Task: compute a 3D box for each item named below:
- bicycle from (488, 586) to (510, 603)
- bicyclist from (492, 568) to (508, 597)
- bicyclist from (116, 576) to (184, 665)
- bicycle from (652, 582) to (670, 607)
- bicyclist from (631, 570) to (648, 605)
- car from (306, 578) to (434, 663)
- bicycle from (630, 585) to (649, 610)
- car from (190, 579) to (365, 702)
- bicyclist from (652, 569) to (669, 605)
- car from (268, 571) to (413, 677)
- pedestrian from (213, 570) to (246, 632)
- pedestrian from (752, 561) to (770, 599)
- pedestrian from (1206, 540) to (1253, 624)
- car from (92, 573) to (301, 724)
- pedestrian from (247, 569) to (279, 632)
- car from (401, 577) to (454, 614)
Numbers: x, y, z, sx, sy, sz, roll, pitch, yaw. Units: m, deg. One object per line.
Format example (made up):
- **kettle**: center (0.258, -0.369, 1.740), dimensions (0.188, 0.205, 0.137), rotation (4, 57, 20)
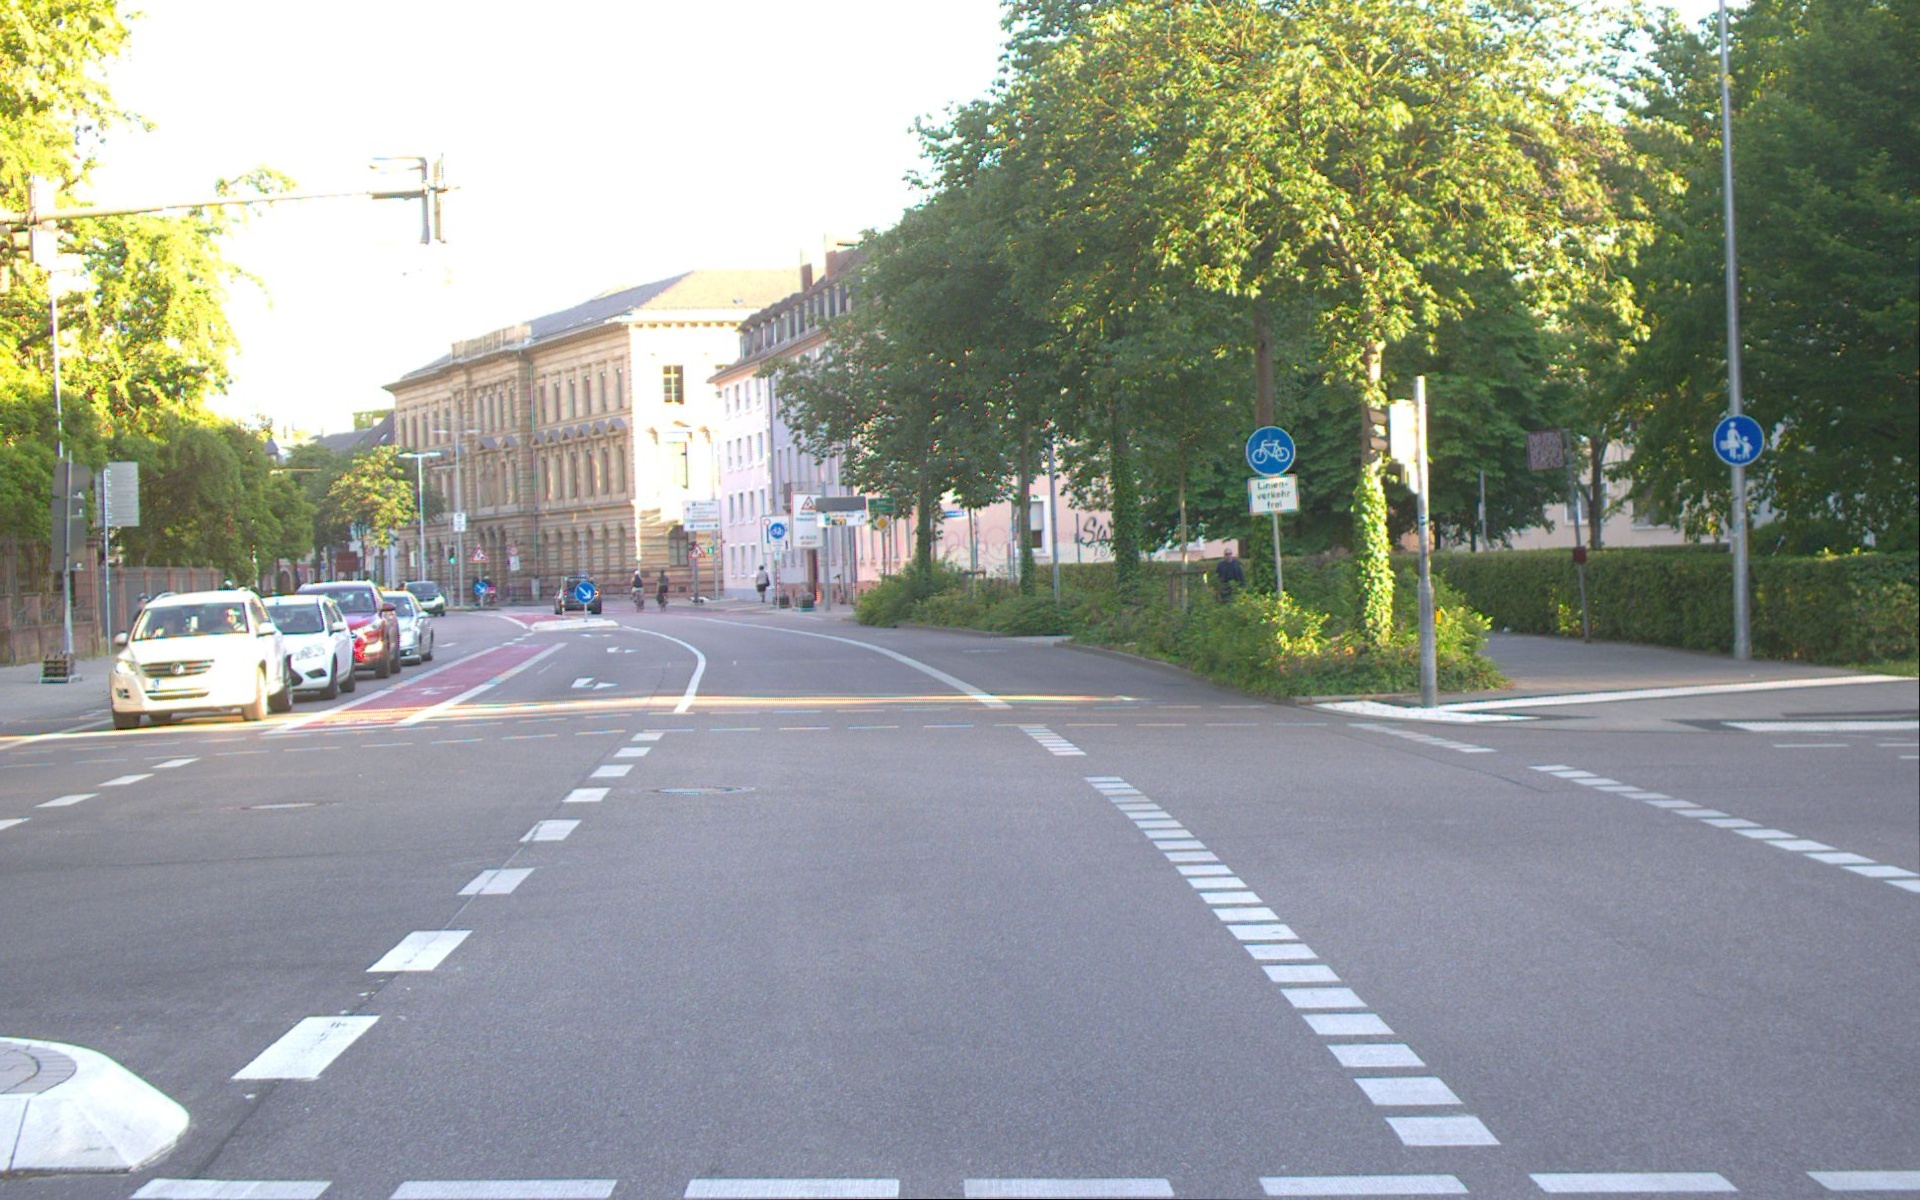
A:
- **bicycle**: center (-27.712, -0.336, 206.744), dimensions (0.652, 1.012, 2.198), rotation (1, 0, -26)
- **bicyclist**: center (-27.683, -1.048, 206.711), dimensions (0.652, 1.692, 0.957), rotation (1, 0, -26)
- **bicyclist**: center (-13.251, 0.328, 56.247), dimensions (0.855, 1.426, 0.943), rotation (-2, 1, 0)
- **bicycle**: center (-12.477, -0.218, 143.347), dimensions (0.652, 1.012, 2.198), rotation (1, 0, -8)
- **bicyclist**: center (-13.336, -0.533, 143.133), dimensions (0.652, 1.441, 0.879), rotation (1, 0, -8)
- **car**: center (-11.150, 0.354, 65.238), dimensions (1.916, 1.413, 4.771), rotation (-4, 1, -5)
- **bicycle**: center (-13.347, -0.105, 143.153), dimensions (0.652, 1.012, 2.198), rotation (1, 0, -8)
- **car**: center (-9.925, 0.548, 50.308), dimensions (1.916, 1.578, 4.675), rotation (-4, 1, -5)
- **bicyclist**: center (-12.476, -0.540, 143.349), dimensions (0.652, 1.470, 0.941), rotation (1, 0, -8)
- **car**: center (-10.528, 0.371, 58.734), dimensions (1.916, 1.619, 4.640), rotation (-4, 1, -5)
- **pedestrian**: center (-19.200, 0.026, 90.343), dimensions (0.681, 1.617, 0.688), rotation (-2, 1, -1)
- **pedestrian**: center (-9.284, -0.930, 160.366), dimensions (0.762, 1.749, 0.845), rotation (-1, 0, -3)
- **pedestrian**: center (5.676, -0.383, 72.495), dimensions (0.769, 1.733, 0.807), rotation (-2, 1, -10)
- **car**: center (-9.633, 0.562, 43.707), dimensions (1.916, 1.690, 4.427), rotation (-4, 1, -5)
- **pedestrian**: center (-18.342, 0.016, 90.471), dimensions (0.681, 1.617, 0.688), rotation (-2, 1, -2)
- **car**: center (-23.701, -0.210, 152.986), dimensions (1.848, 1.521, 4.001), rotation (-3, 1, -15)
